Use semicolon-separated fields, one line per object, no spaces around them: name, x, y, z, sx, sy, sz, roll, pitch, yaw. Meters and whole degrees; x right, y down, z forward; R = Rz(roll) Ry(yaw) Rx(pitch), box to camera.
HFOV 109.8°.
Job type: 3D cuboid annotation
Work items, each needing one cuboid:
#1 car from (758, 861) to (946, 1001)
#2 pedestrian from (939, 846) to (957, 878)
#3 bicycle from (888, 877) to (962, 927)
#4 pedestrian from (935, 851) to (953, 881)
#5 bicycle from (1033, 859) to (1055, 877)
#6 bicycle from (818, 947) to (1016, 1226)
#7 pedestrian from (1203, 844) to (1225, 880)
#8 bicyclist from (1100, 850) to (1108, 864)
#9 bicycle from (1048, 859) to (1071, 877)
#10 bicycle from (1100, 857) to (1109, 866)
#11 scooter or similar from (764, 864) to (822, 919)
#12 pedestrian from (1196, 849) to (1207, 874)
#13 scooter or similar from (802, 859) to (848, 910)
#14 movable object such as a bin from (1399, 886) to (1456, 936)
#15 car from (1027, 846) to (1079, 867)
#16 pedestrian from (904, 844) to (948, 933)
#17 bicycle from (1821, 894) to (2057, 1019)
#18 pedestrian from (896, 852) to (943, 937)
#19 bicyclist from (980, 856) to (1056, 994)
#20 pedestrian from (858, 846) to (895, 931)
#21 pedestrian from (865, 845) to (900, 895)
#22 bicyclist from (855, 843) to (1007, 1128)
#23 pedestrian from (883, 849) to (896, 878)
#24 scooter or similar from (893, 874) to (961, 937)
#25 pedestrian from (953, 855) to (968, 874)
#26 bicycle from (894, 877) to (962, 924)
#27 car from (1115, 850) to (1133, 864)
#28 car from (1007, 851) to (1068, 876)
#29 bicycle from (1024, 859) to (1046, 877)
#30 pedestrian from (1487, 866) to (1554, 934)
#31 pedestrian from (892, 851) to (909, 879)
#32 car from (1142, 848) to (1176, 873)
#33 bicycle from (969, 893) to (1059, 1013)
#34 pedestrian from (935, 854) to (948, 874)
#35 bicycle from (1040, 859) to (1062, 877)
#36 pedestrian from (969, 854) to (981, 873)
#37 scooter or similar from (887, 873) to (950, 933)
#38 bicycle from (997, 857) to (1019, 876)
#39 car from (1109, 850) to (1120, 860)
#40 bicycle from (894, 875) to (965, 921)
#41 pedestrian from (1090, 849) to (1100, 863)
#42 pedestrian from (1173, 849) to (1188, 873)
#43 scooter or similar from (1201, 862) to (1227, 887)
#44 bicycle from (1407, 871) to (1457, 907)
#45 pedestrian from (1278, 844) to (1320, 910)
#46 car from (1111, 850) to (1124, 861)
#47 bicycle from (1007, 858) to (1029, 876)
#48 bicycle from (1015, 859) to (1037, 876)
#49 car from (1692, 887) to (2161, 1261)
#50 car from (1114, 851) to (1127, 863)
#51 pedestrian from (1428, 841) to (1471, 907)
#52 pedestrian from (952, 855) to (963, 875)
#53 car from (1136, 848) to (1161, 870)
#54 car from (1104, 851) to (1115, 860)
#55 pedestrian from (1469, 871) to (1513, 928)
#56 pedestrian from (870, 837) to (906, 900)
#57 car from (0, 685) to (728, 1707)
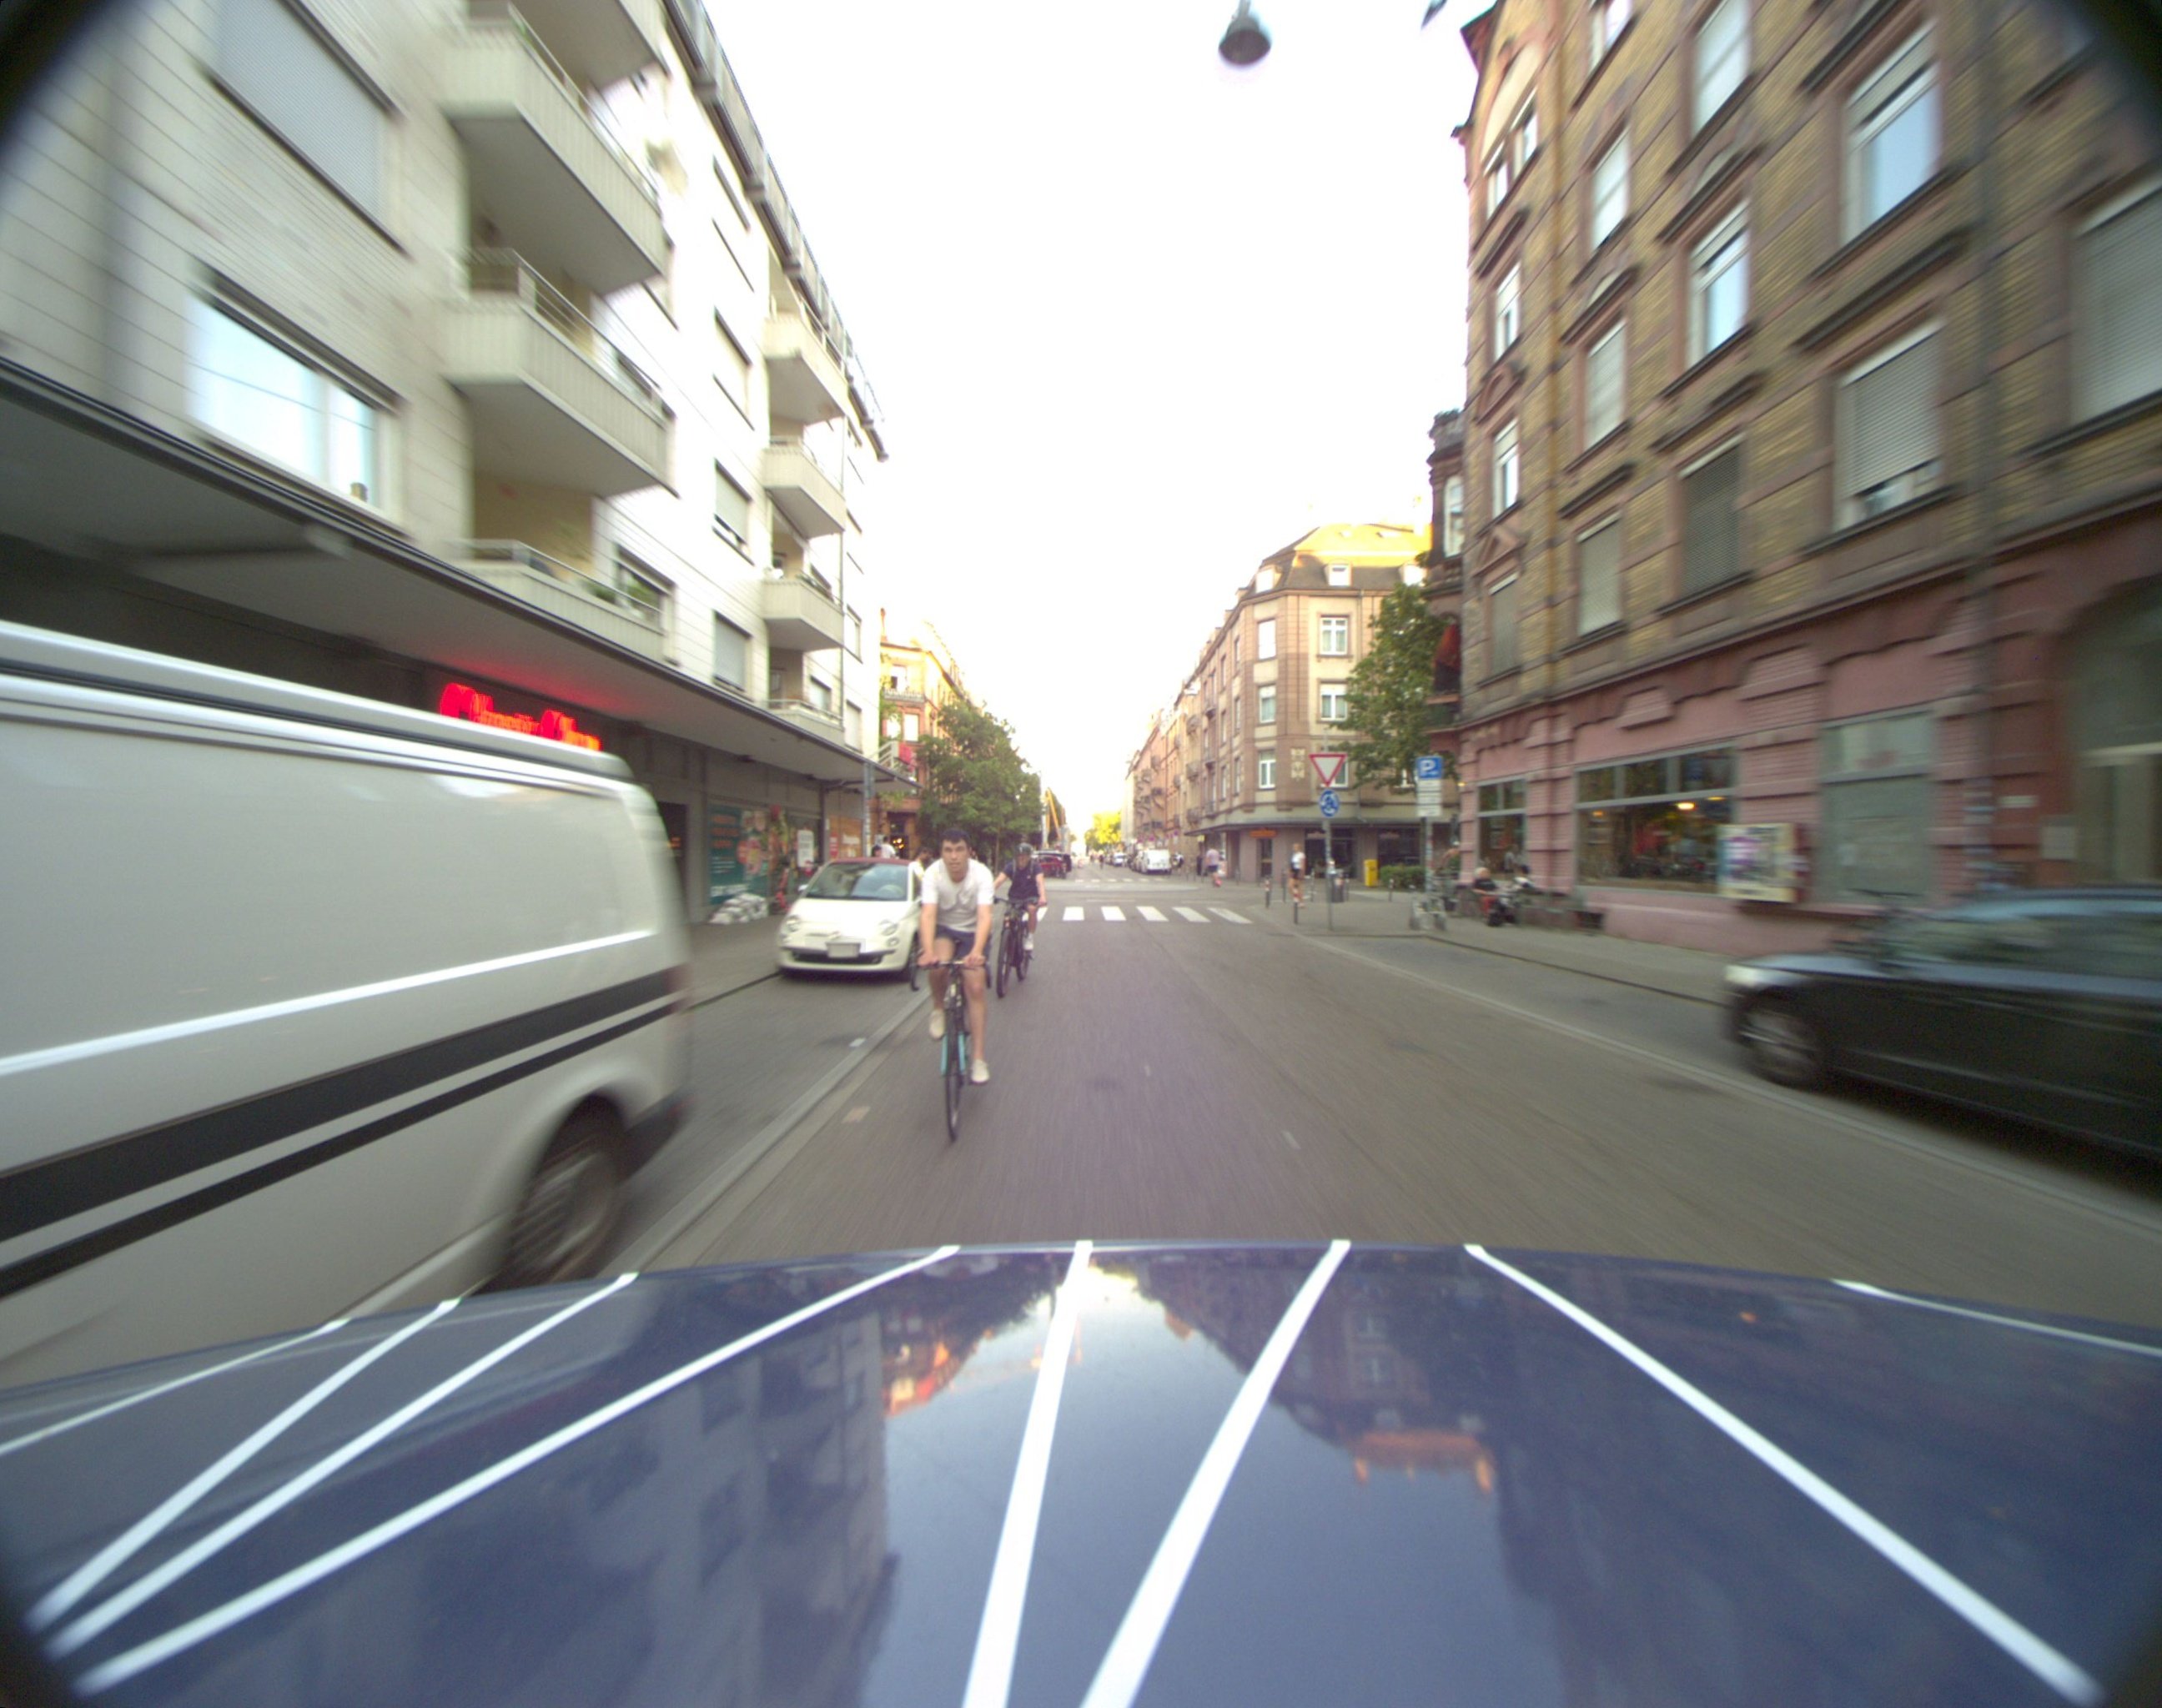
car;-2.881;0.887;10.273;1.597;1.492;3.422;2;0;-2
pedestrian;-7.836;0.463;44.730;0.673;1.858;0.911;0;2;14
bicycle;-3.435;1.046;16.751;1.482;0.996;0.511;2;2;6
pedestrian;-7.601;0.669;42.096;0.537;1.597;0.870;1;-1;26
bicycle;-2.554;0.951;52.052;0.667;1.125;2.111;2;0;-28
bicycle;-0.835;1.186;4.444;0.658;1.012;1.917;0;1;2
pedestrian;6.181;0.383;35.311;0.810;1.650;0.672;1;0;-11
bicyclist;2.740;0.322;89.986;0.754;1.630;1.200;0;0;-6
bicycle;-1.502;0.980;52.399;0.667;1.162;2.111;2;0;-28
bicycle;2.747;0.897;89.988;0.754;1.124;1.975;0;0;-6
scooter or similar;-6.523;0.826;17.233;0.536;1.196;1.166;1;0;26
pedestrian;8.429;0.532;53.302;0.654;1.768;0.693;-1;0;18
scooter or similar;-6.601;0.756;19.649;0.479;1.211;1.624;1;2;7
movable object such as a bin;6.817;1.111;14.957;0.763;0.910;0.729;-1;2;-4
car;-3.039;0.250;83.463;5.153;2.182;2.333;-1;2;-25
pedestrian;-3.150;0.686;15.483;0.662;1.746;0.738;2;1;5
bicycle;8.894;1.005;8.011;0.426;1.047;1.898;0;0;3
pedestrian;-3.138;0.768;14.777;0.649;1.590;0.590;1;1;-40
bicyclist;-0.733;0.812;9.063;0.794;1.562;0.826;-1;0;1
pedestrian;-4.038;0.675;15.024;0.562;1.622;0.726;2;0;-7
pedestrian;-6.754;0.537;25.895;0.662;1.642;0.885;3;0;23
bicyclist;-0.837;0.690;4.481;0.650;1.500;0.953;0;2;2
pedestrian;-11.573;0.572;45.952;0.675;1.735;0.640;-1;2;-9
scooter or similar;-2.937;0.971;14.579;0.535;1.164;1.166;0;-2;39
pedestrian;-7.969;0.700;50.219;0.639;1.265;0.676;1;2;39
bicycle;-3.450;1.041;17.211;1.421;0.978;0.510;2;2;-3
car;5.754;0.397;101.730;2.141;1.811;4.540;0;0;0
car;-3.134;0.671;54.811;4.006;1.658;1.823;-1;2;-31
bicycle;-3.127;0.939;51.705;0.667;1.125;2.111;2;0;-28
pedestrian;8.635;0.883;14.956;0.650;1.247;0.907;-3;0;-15
pedestrian;-10.843;0.662;45.651;0.673;1.628;0.642;1;2;36
car;6.204;0.496;61.171;2.141;1.947;4.768;-1;0;-1
bicycle;-0.728;1.090;9.061;0.794;1.133;2.343;-1;0;1
pedestrian;-8.902;0.648;48.541;0.676;1.265;0.639;-1;2;-28
bicycle;-2.070;0.952;52.523;0.667;1.162;2.111;2;0;-28
pedestrian;-7.228;0.619;51.848;0.722;1.297;0.750;0;1;-20
scooter or similar;-3.264;0.978;15.343;1.163;1.164;0.537;1;-1;-7
bicycle;-4.904;0.838;50.740;0.667;1.158;2.111;2;0;-28
car;6.052;0.132;136.530;1.868;1.729;3.799;0;1;3
bicycle;-3.558;1.028;17.855;1.552;0.996;0.510;2;2;-3
pedestrian;2.342;0.361;129.538;1.394;2.465;1.237;1;1;17
pedestrian;7.375;0.508;56.303;0.747;1.733;1.215;-1;1;26
scooter or similar;6.174;0.948;35.317;0.810;1.097;1.171;1;0;-11
bicycle;10.375;1.008;22.436;1.779;1.019;0.611;0;-2;-40
pedestrian;6.112;0.659;21.369;1.047;1.800;0.757;-1;-2;11
car;5.902;0.218;121.237;1.998;1.729;4.000;0;1;3
bicycle;-4.243;0.868;51.055;0.667;1.158;2.111;2;0;-28
bicycle;-3.721;0.904;51.344;0.667;1.125;2.111;2;0;-28
car;5.335;0.964;3.723;1.697;1.412;3.855;-1;0;3
car;6.031;0.460;116.216;1.998;1.729;4.000;0;1;3
pedestrian;10.653;0.574;21.935;1.024;1.844;0.723;0;-1;-40
pedestrian;-7.960;0.726;48.863;0.641;1.265;0.674;-1;2;-15
car;5.954;0.427;67.308;1.879;1.892;4.326;-1;0;1
car;5.340;0.266;142.096;1.908;1.729;3.850;0;1;3
pedestrian;8.602;0.945;15.969;0.504;1.137;0.791;-1;2;1
pedestrian;-6.078;0.443;24.000;0.763;1.901;1.190;2;1;0
car;-2.691;0.685;1.086;1.964;1.962;5.002;2;0;0
